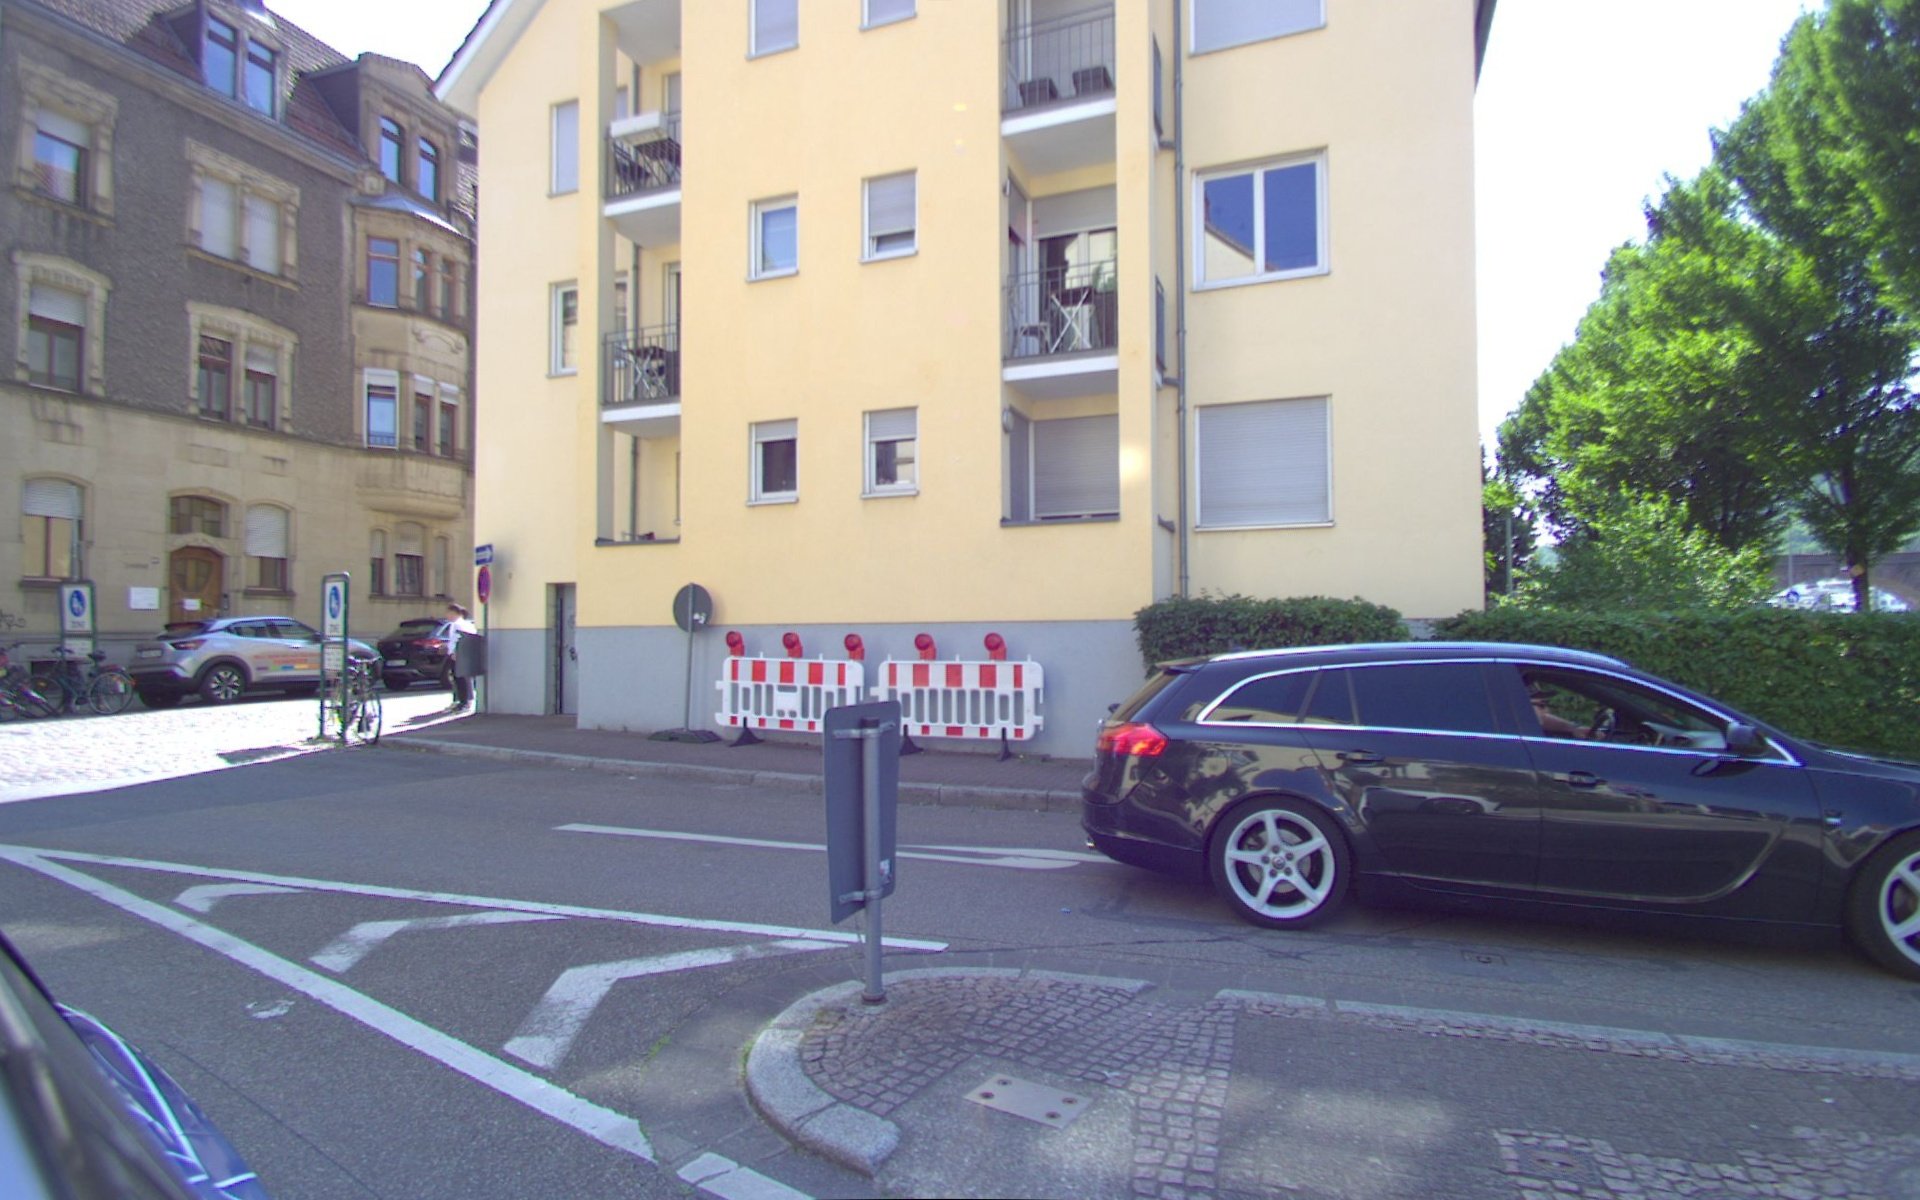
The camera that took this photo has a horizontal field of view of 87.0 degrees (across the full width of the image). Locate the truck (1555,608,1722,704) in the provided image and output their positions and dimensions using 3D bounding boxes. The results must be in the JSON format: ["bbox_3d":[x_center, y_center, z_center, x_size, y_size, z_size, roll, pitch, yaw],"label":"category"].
[{"bbox_3d":[33.958,2.700,51.457,3.185,4.246,12.698,-1,-2,16],"label":"truck"}]

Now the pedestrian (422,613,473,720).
[{"bbox_3d":[-8.016,1.026,15.838,0.485,1.630,0.658,0,-1,-5],"label":"pedestrian"}]

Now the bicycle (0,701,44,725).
[{"bbox_3d":[-14.422,1.682,14.970,1.121,0.290,1.066,-1,-3,34],"label":"bicycle"}]

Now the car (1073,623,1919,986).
[{"bbox_3d":[3.059,0.901,5.316,4.685,1.473,1.709,-1,-4,18],"label":"car"}]

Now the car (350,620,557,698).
[{"bbox_3d":[-11.158,1.245,22.604,1.839,1.556,3.973,-2,-1,20],"label":"car"}]

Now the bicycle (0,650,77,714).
[{"bbox_3d":[-14.721,1.259,15.550,1.624,1.084,0.288,0,42,9],"label":"bicycle"}]

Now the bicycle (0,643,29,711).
[{"bbox_3d":[-16.337,1.261,16.480,0.492,1.094,1.632,4,-1,19],"label":"bicycle"}]

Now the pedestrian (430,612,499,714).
[{"bbox_3d":[-8.170,1.022,16.703,0.686,1.630,0.750,-1,-2,24],"label":"pedestrian"}]

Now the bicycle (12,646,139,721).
[{"bbox_3d":[-13.871,1.303,15.888,1.616,1.094,0.286,-2,-4,-7],"label":"bicycle"}]

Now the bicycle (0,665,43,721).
[{"bbox_3d":[-14.809,1.313,15.061,1.624,1.084,0.288,0,42,9],"label":"bicycle"}]

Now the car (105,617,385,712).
[{"bbox_3d":[-13.035,1.134,18.763,1.838,1.556,3.903,-1,-2,19],"label":"car"}]

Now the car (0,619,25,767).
[{"bbox_3d":[-12.062,0.952,10.228,4.344,1.504,1.867,-1,-2,16],"label":"car"}]

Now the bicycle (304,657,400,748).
[{"bbox_3d":[-7.938,1.305,13.175,1.907,1.087,0.387,-2,-3,37],"label":"bicycle"}]
